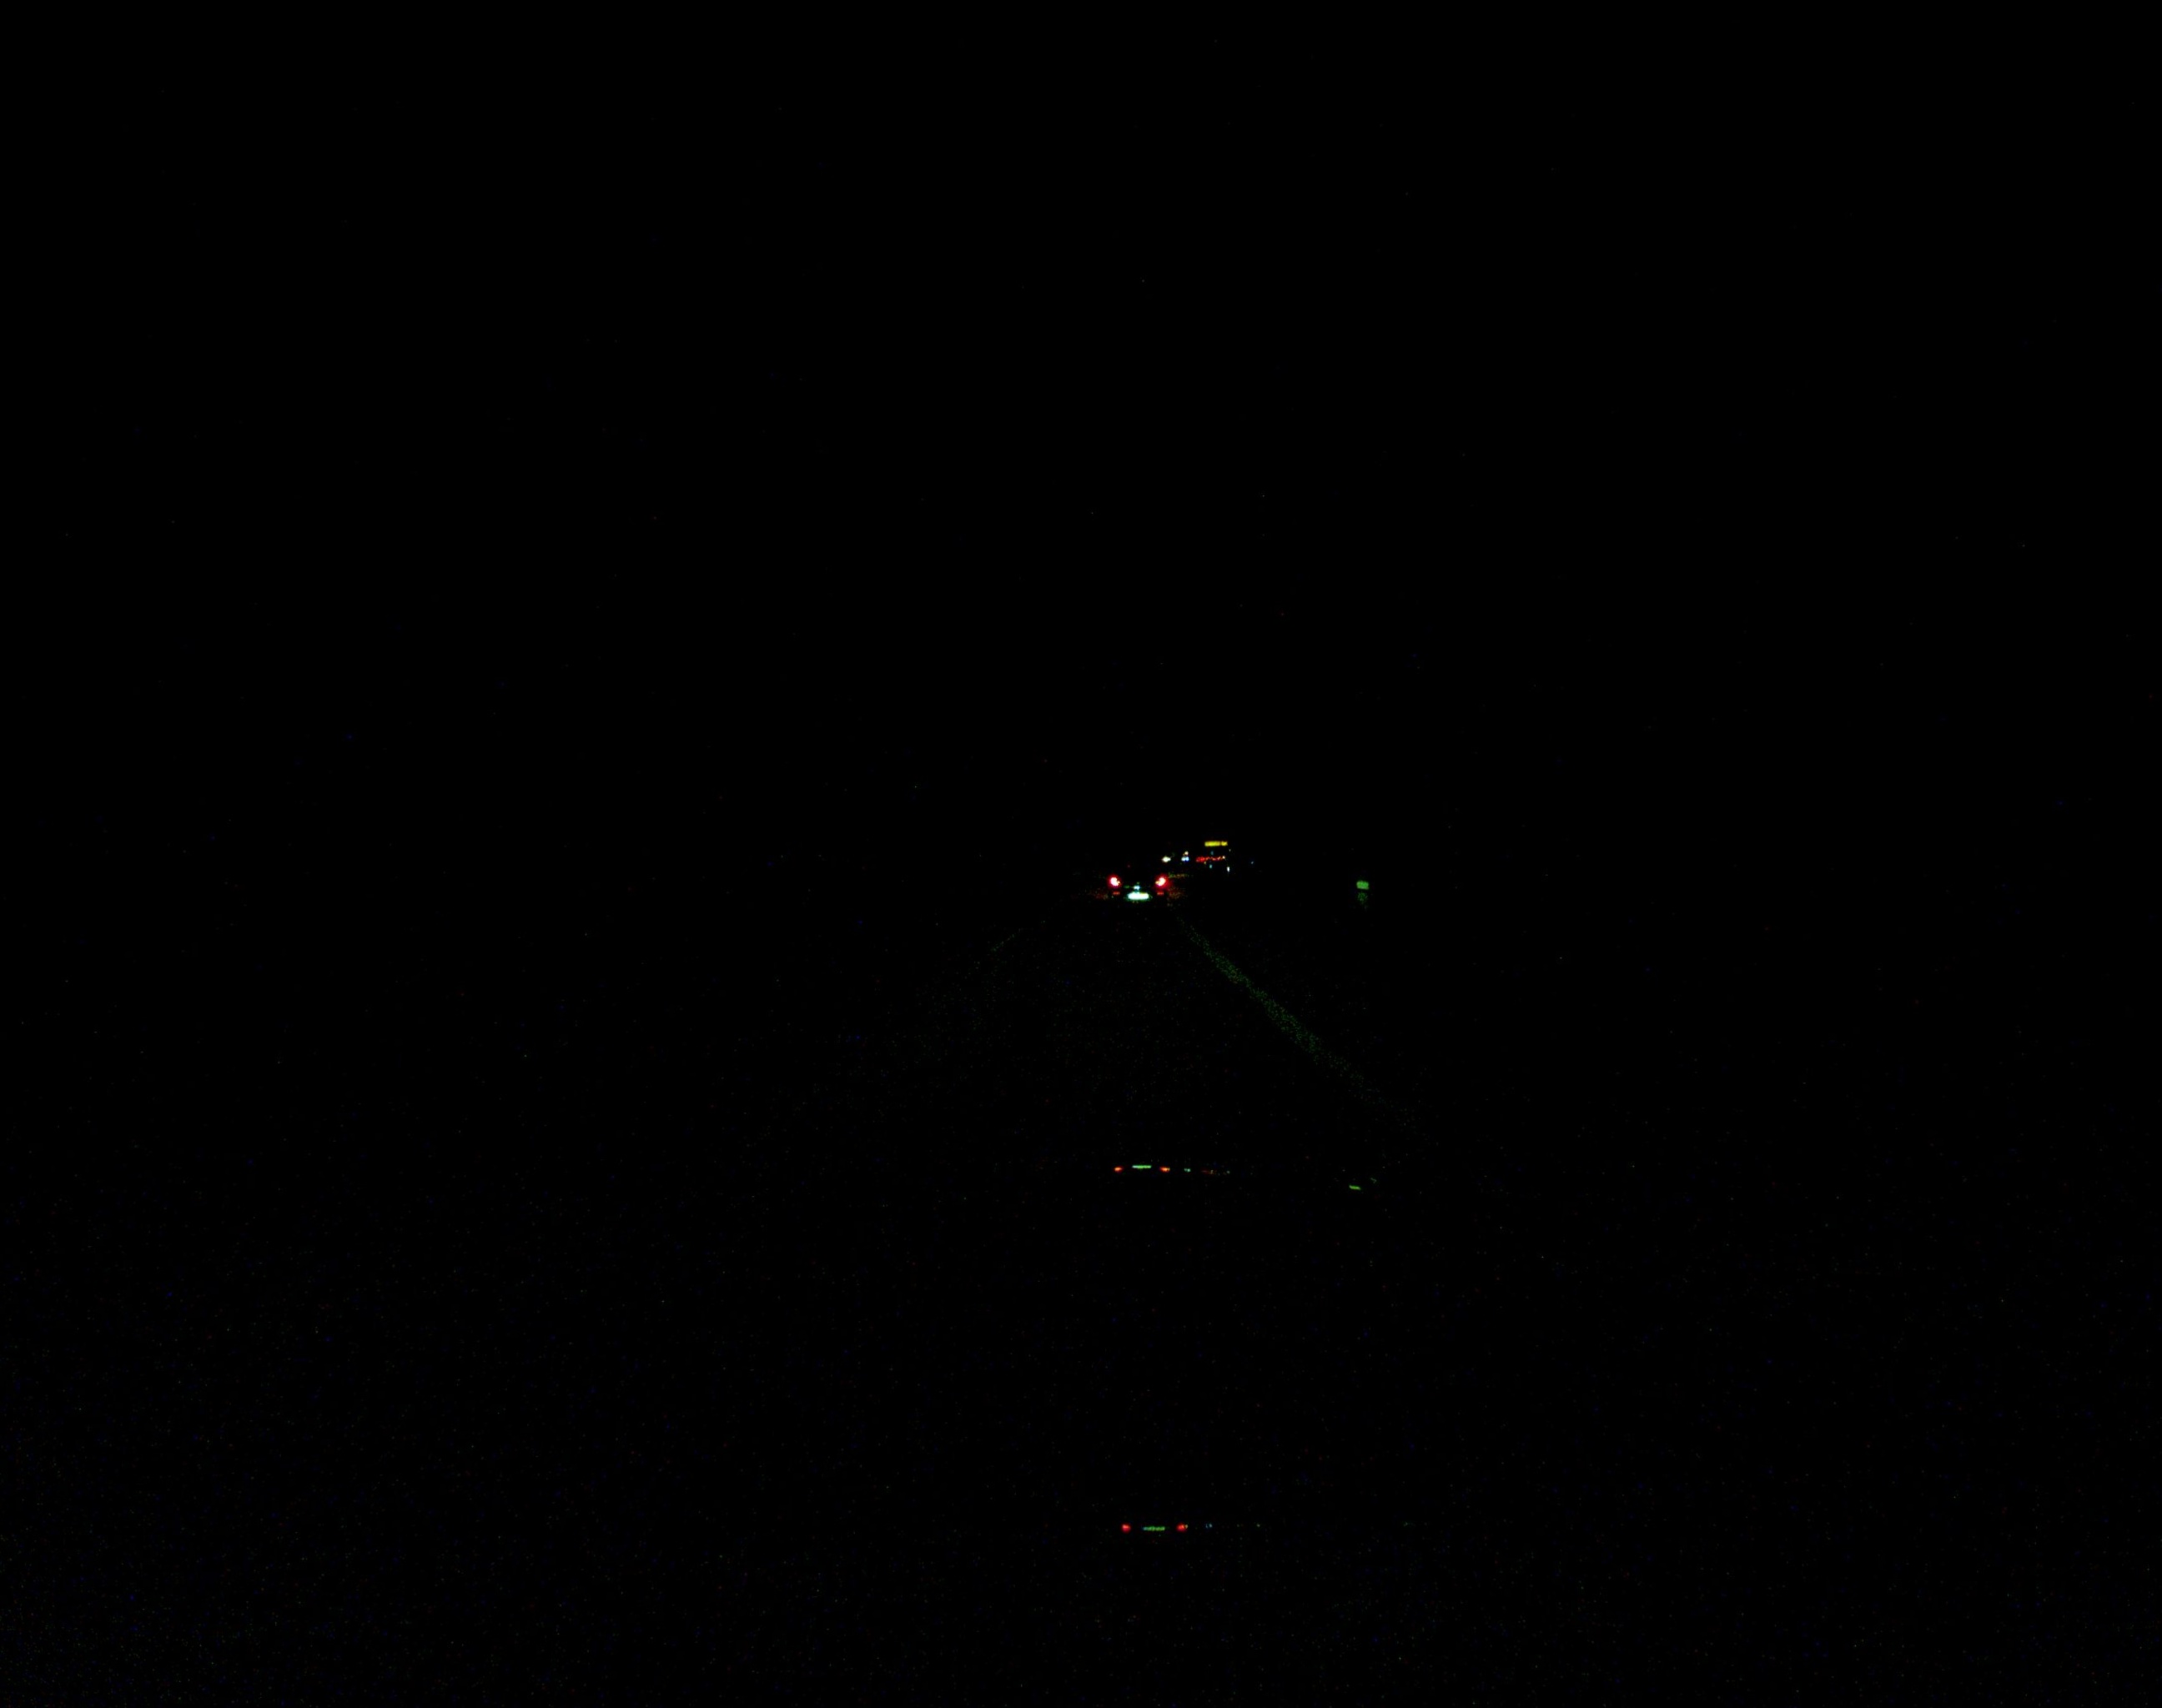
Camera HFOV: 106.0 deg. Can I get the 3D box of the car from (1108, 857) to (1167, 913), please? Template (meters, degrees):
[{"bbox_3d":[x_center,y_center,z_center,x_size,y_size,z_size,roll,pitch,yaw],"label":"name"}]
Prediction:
[{"bbox_3d":[1.605,0.847,23.987,1.582,1.508,4.002,0,0,2],"label":"car"}]

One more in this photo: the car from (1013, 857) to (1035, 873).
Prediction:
[{"bbox_3d":[-6.445,1.252,92.958,1.985,1.657,4.537,-2,-1,2],"label":"car"}]

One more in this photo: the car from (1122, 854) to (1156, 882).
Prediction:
[{"bbox_3d":[3.847,0.869,53.486,1.896,1.698,4.009,-1,0,7],"label":"car"}]
